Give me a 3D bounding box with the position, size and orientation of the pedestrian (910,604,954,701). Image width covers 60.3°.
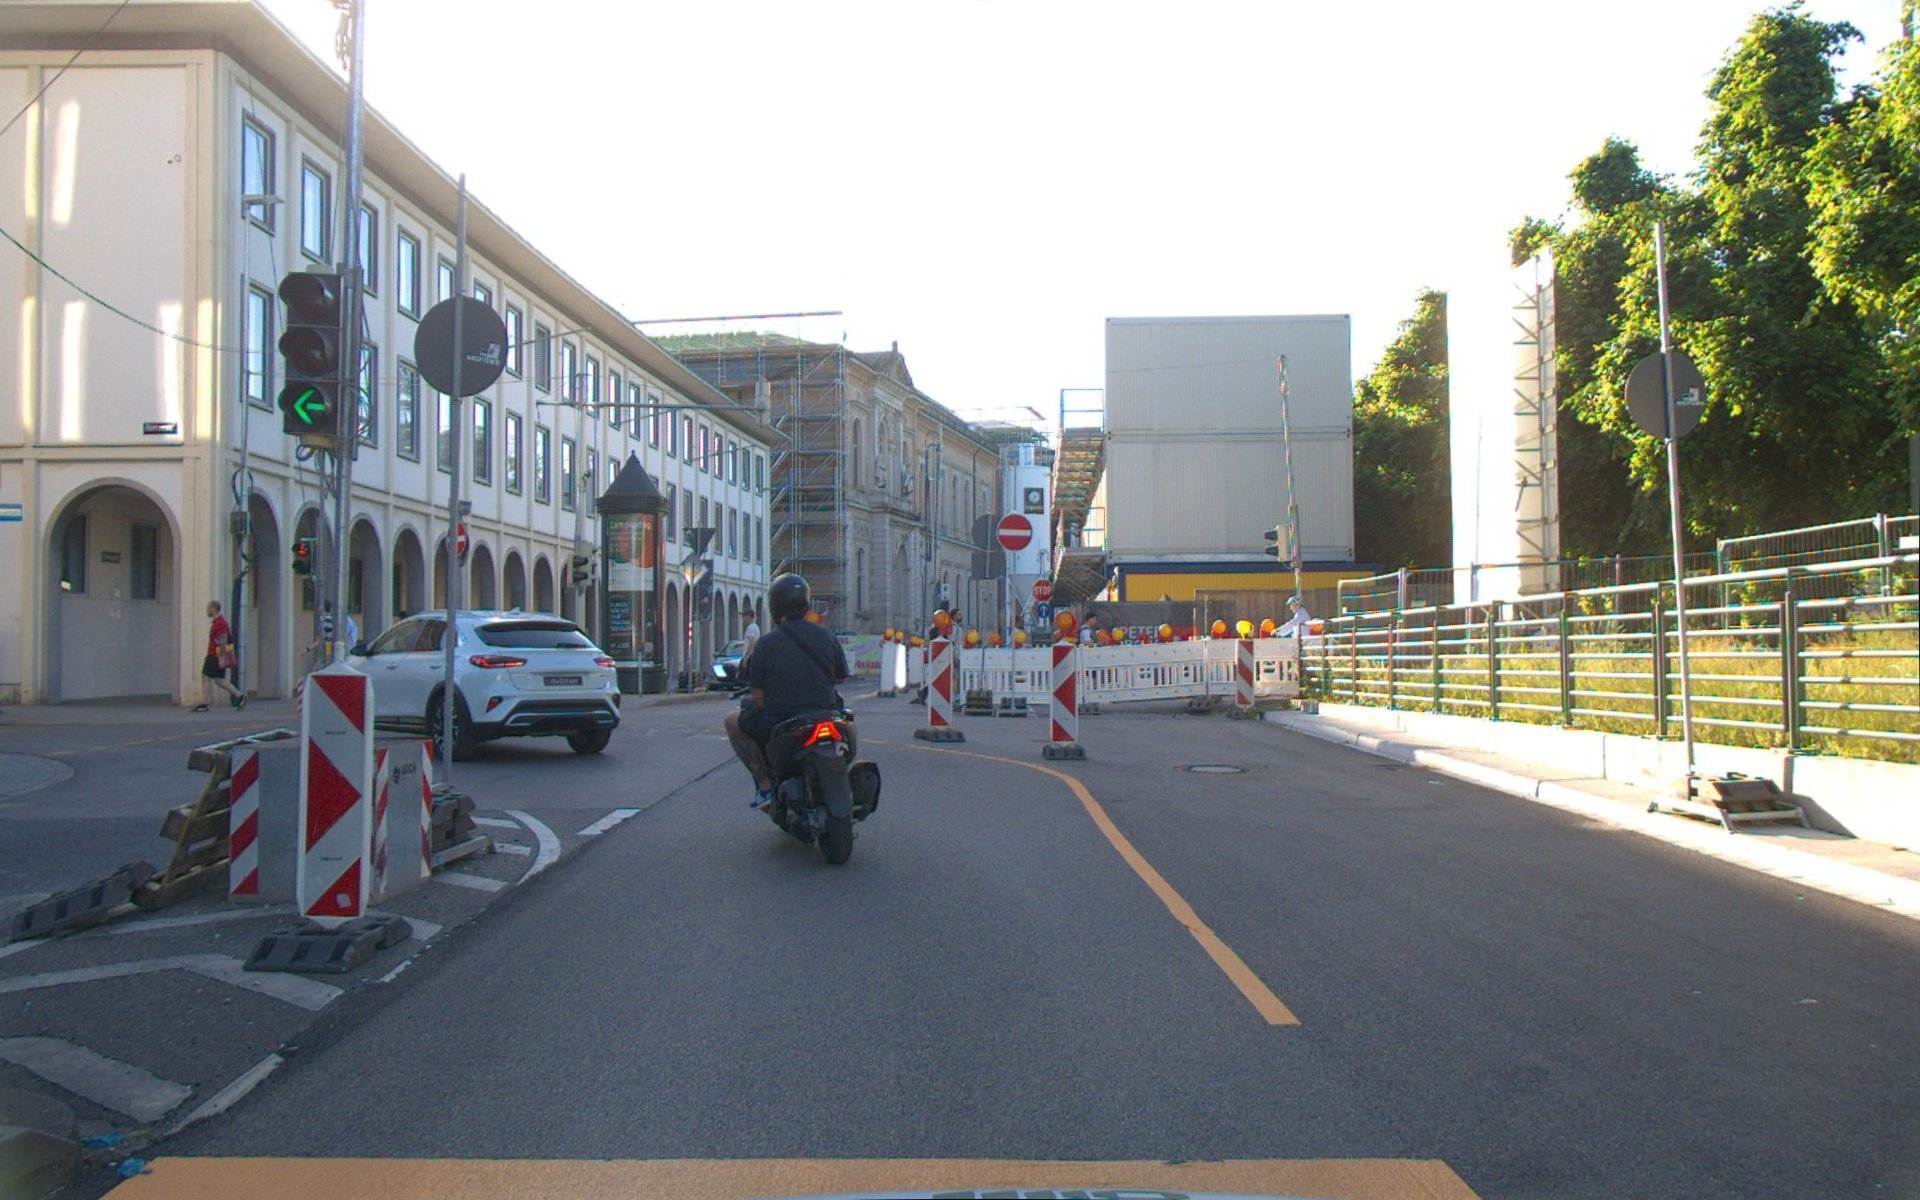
[{"bbox_3d":[-0.528,0.995,31.500,0.721,1.802,0.724,-2,-1,3],"label":"pedestrian"}]

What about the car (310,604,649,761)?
[{"bbox_3d":[-5.277,0.830,17.916,3.933,1.498,1.852,0,-2,45],"label":"car"}]

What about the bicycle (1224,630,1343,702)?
[{"bbox_3d":[5.538,1.129,28.376,1.951,1.222,0.477,0,-2,3],"label":"bicycle"}]

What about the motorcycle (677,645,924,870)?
[{"bbox_3d":[-1.099,0.916,10.625,0.893,1.204,2.561,0,-1,-22],"label":"motorcycle"}]

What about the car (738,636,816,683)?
[{"bbox_3d":[-6.104,2.033,55.636,1.884,1.492,4.001,1,-3,4],"label":"car"}]

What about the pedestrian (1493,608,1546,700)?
[{"bbox_3d":[10.222,0.987,30.248,0.721,1.632,0.644,-2,-1,3],"label":"pedestrian"}]

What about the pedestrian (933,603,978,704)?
[{"bbox_3d":[-0.076,0.980,30.419,0.721,1.802,0.622,-2,-1,3],"label":"pedestrian"}]

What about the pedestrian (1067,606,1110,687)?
[{"bbox_3d":[2.406,0.870,31.107,0.752,1.488,0.666,-2,-1,3],"label":"pedestrian"}]

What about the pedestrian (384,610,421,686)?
[{"bbox_3d":[-13.997,1.207,41.525,0.627,1.873,0.727,0,1,4],"label":"pedestrian"}]

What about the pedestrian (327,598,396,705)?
[{"bbox_3d":[-10.397,0.886,28.757,0.919,1.808,0.711,-1,1,0],"label":"pedestrian"}]

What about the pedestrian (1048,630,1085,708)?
[{"bbox_3d":[1.852,1.189,28.800,0.605,1.322,0.494,2,-1,3],"label":"pedestrian"}]

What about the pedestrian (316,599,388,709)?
[{"bbox_3d":[-10.289,0.905,28.005,0.919,1.808,0.711,-1,1,0],"label":"pedestrian"}]

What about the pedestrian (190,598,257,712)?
[{"bbox_3d":[-12.131,0.895,27.267,0.757,1.833,0.711,-1,1,0],"label":"pedestrian"}]

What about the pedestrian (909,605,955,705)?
[{"bbox_3d":[-0.495,0.979,29.681,0.721,1.746,0.622,-2,-1,3],"label":"pedestrian"}]

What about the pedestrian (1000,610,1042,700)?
[{"bbox_3d":[1.147,1.032,31.116,0.752,1.647,0.666,-1,1,3],"label":"pedestrian"}]

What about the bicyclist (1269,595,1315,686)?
[{"bbox_3d":[5.678,0.700,28.337,0.687,1.543,0.686,0,-2,4],"label":"bicyclist"}]

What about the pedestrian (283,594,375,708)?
[{"bbox_3d":[-10.403,0.828,27.302,1.217,1.833,0.716,-1,1,0],"label":"pedestrian"}]

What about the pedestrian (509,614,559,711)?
[{"bbox_3d":[-7.348,1.070,28.544,0.710,1.652,0.620,0,1,0],"label":"pedestrian"}]

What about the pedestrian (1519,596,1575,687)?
[{"bbox_3d":[10.548,0.741,29.695,0.654,1.593,0.740,-3,-2,43],"label":"pedestrian"}]

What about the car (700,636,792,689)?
[{"bbox_3d":[-6.312,1.890,49.182,1.884,1.492,4.001,1,-3,4],"label":"car"}]

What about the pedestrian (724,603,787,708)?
[{"bbox_3d":[-3.534,0.961,28.652,0.954,1.759,0.798,-2,-2,0],"label":"pedestrian"}]

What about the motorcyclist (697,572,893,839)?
[{"bbox_3d":[-1.080,0.631,10.580,0.941,1.587,1.230,0,-1,-22],"label":"motorcyclist"}]

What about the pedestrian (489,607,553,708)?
[{"bbox_3d":[-7.767,1.004,29.263,0.945,1.739,0.675,0,1,0],"label":"pedestrian"}]
